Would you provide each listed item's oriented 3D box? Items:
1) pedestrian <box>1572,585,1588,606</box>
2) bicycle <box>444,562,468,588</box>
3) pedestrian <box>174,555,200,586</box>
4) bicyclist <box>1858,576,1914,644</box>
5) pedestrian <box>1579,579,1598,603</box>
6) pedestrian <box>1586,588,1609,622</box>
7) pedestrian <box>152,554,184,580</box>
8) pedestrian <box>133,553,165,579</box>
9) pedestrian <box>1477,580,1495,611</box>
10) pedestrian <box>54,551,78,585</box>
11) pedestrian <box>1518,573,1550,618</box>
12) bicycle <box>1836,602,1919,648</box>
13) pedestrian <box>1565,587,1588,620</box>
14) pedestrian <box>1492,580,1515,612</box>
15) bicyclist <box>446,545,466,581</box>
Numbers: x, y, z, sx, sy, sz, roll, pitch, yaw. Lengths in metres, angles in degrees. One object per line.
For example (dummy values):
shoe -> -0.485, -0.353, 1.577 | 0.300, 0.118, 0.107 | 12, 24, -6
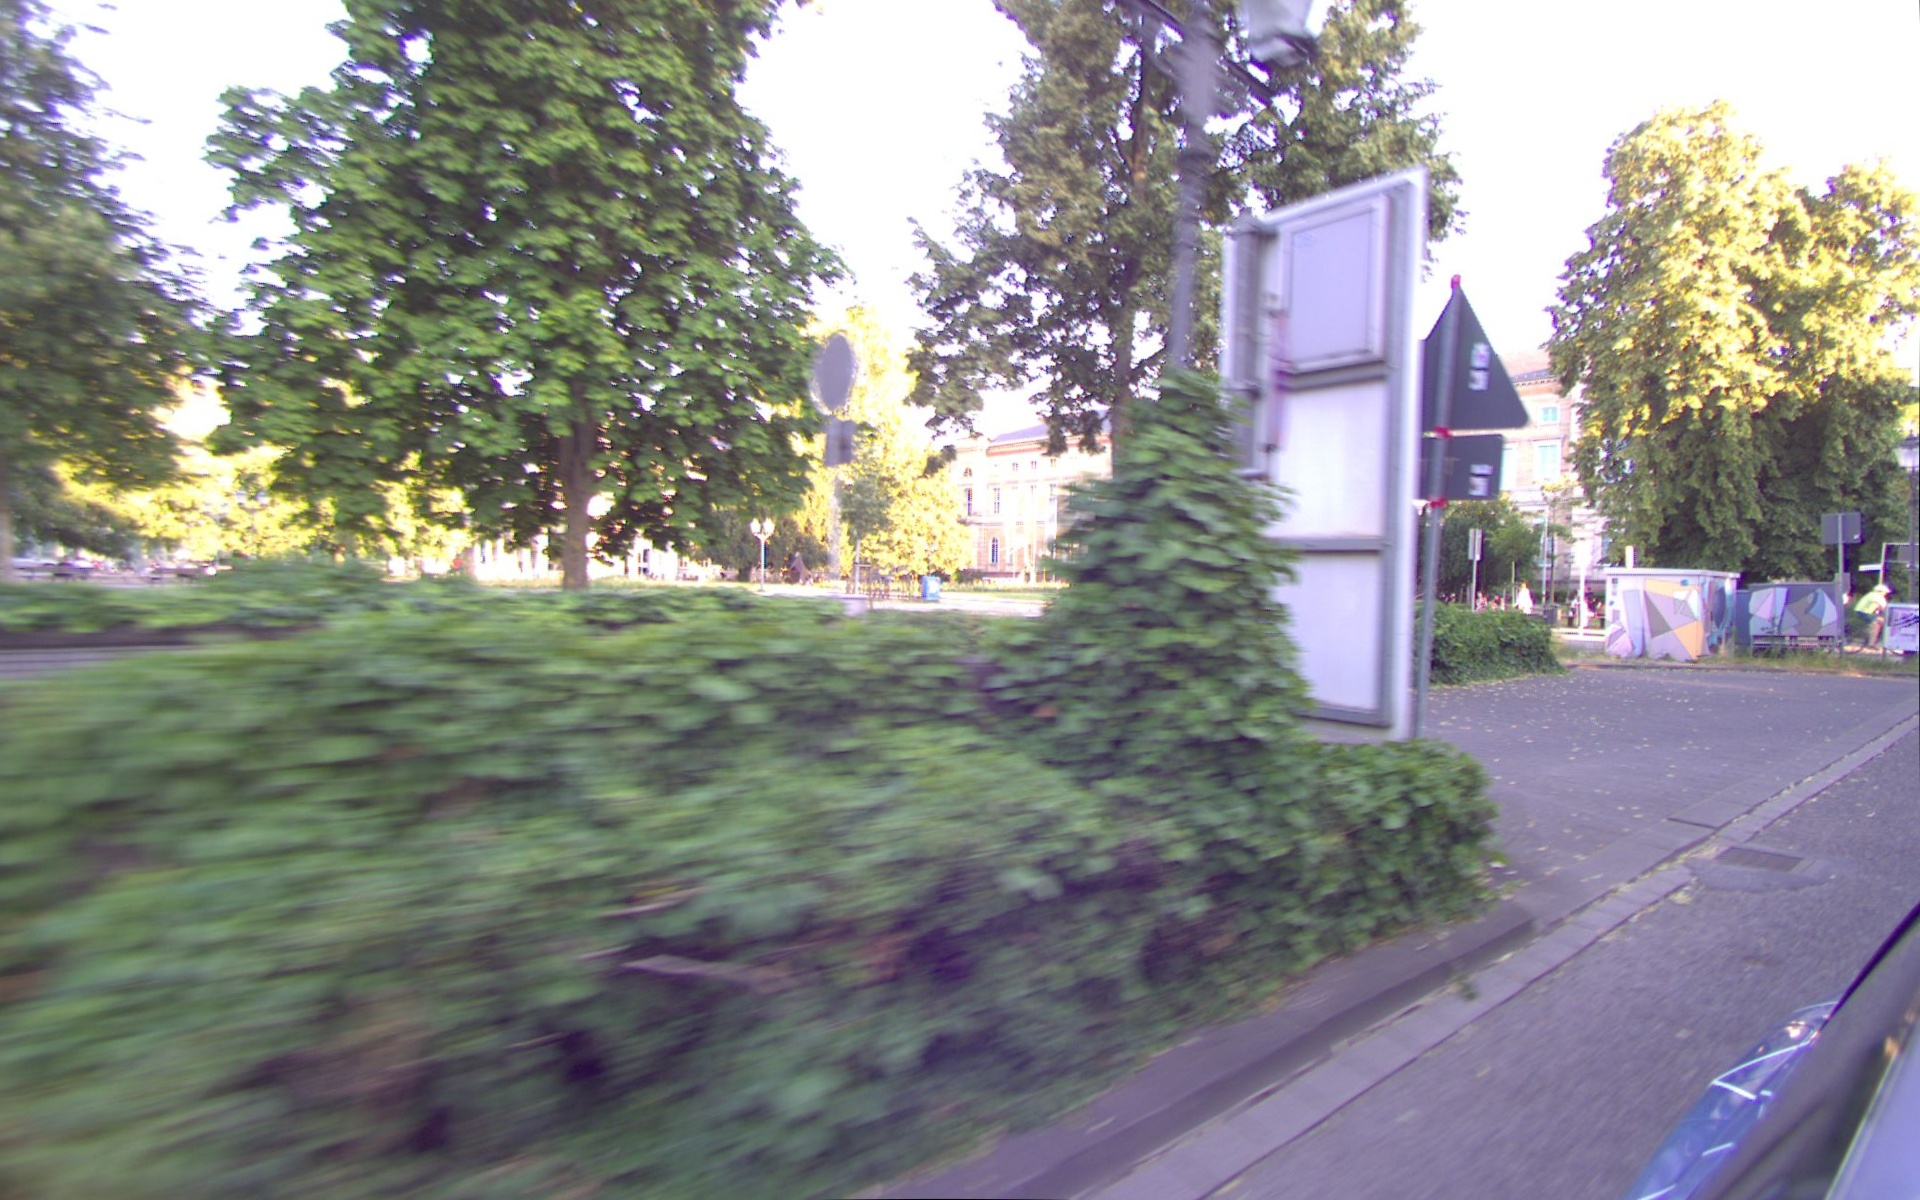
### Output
pedestrian -> 34.424, -0.249, 56.205 | 0.593, 1.123, 0.395 | 1, 1, 5
bicycle -> -23.897, -1.210, 47.976 | 0.556, 1.191, 1.771 | 0, 2, -43
pedestrian -> -31.353, -1.193, 41.040 | 0.724, 1.215, 1.103 | 0, 2, -42
bicyclist -> 23.100, 0.227, 25.253 | 0.584, 1.640, 0.967 | 0, 1, -43
pedestrian -> 38.612, -0.570, 62.140 | 0.742, 1.462, 0.815 | 1, 1, 15
pedestrian -> 23.829, 0.185, 37.817 | 0.606, 1.219, 0.656 | 2, 1, 44
pedestrian -> -43.504, -1.813, 55.606 | 0.819, 1.387, 1.150 | 2, 0, -4
pedestrian -> -44.433, -1.844, 55.479 | 0.819, 1.387, 1.150 | 2, 0, -4
pedestrian -> 21.161, -0.183, 40.720 | 0.499, 1.229, 0.583 | 2, 1, 44
pedestrian -> -32.805, -1.174, 37.132 | 0.652, 1.215, 1.103 | 0, 2, -42
pedestrian -> 21.496, -0.191, 37.901 | 0.856, 1.646, 0.745 | 2, 2, 43
bicycle -> 23.126, 0.615, 25.219 | 0.572, 1.052, 1.897 | 0, 2, -43
pedestrian -> 23.326, 0.142, 38.306 | 0.526, 1.219, 0.955 | 2, 1, 43
pedestrian -> 21.612, -0.161, 40.232 | 0.606, 1.229, 0.656 | 2, 1, 44
bicyclist -> -23.905, -1.759, 47.990 | 0.648, 1.652, 0.676 | 0, 2, -43
